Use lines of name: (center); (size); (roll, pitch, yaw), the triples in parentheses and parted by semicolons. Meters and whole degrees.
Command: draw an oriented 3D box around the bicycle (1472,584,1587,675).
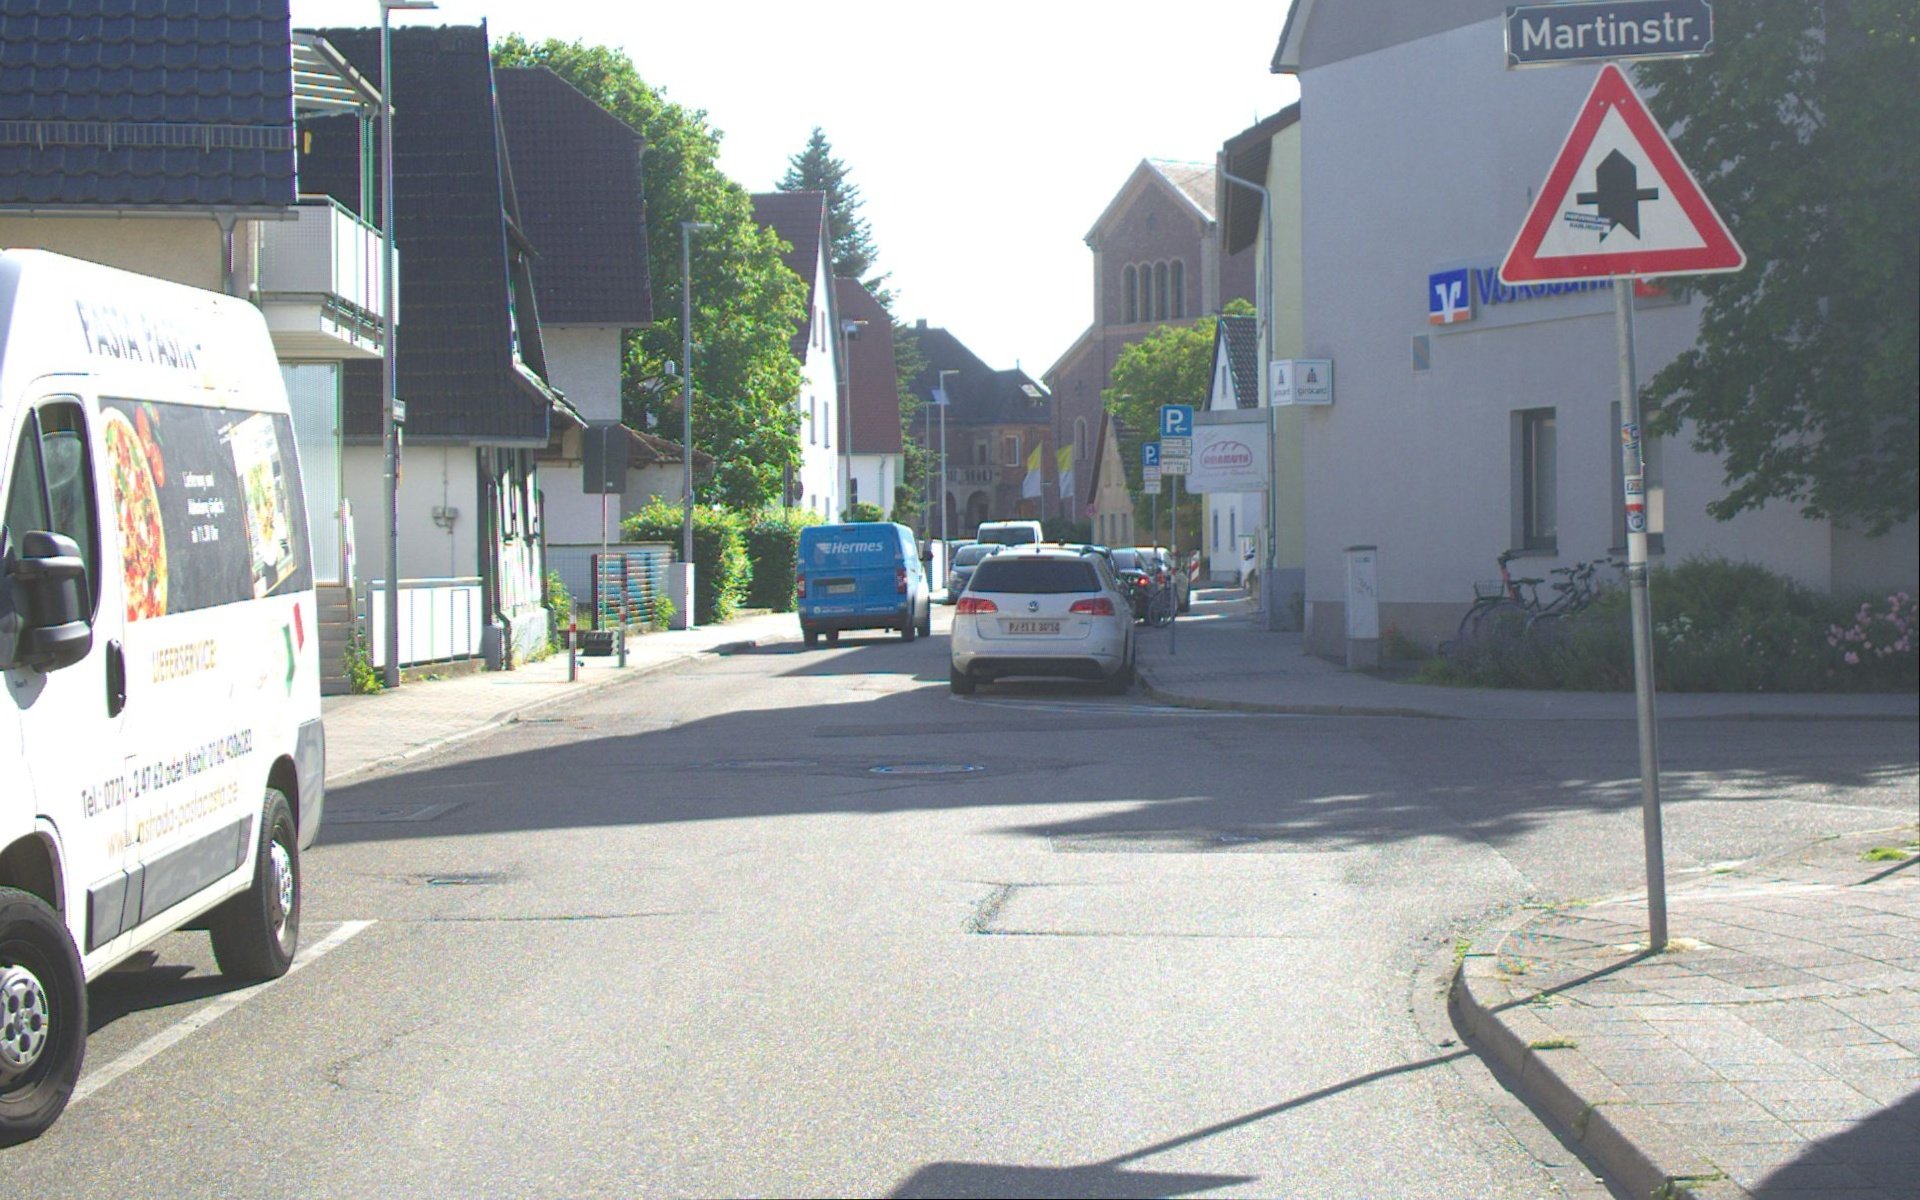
bicycle: (5.924, 0.305, 35.762); (1.163, 0.917, 0.313); (-1, 1, 10)

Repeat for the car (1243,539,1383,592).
car: (10.602, -1.031, 103.130); (3.914, 1.487, 1.846); (-1, 1, 14)

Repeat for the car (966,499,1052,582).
car: (1.558, -1.854, 106.533); (2.197, 2.382, 6.063); (-3, 1, 5)

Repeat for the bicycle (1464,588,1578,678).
bicycle: (5.919, 0.349, 36.284); (1.163, 0.917, 0.313); (-1, 1, 10)

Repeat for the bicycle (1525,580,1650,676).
bicycle: (6.203, 0.277, 33.993); (1.163, 0.917, 0.313); (-1, 1, 0)

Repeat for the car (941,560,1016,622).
car: (0.532, -0.264, 94.104); (1.715, 1.593, 3.925); (-2, 1, 5)

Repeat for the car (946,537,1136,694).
car: (0.894, 0.116, 35.993); (1.846, 1.508, 4.506); (-1, 1, 3)

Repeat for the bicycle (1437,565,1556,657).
bicycle: (5.779, 0.119, 37.045); (1.223, 0.972, 0.320); (-1, 1, 16)

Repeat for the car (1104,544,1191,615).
car: (4.026, -0.458, 73.773); (1.811, 1.470, 4.659); (0, 1, 3)

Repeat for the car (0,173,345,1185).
car: (-3.497, 0.165, 10.550); (2.252, 2.462, 5.516); (-1, 1, -1)

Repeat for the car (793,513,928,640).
car: (-1.562, -0.410, 55.949); (1.902, 1.911, 5.070); (-2, 1, 1)

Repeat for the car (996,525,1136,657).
car: (1.282, -0.139, 41.918); (1.610, 1.515, 3.971); (1, 1, 1)
